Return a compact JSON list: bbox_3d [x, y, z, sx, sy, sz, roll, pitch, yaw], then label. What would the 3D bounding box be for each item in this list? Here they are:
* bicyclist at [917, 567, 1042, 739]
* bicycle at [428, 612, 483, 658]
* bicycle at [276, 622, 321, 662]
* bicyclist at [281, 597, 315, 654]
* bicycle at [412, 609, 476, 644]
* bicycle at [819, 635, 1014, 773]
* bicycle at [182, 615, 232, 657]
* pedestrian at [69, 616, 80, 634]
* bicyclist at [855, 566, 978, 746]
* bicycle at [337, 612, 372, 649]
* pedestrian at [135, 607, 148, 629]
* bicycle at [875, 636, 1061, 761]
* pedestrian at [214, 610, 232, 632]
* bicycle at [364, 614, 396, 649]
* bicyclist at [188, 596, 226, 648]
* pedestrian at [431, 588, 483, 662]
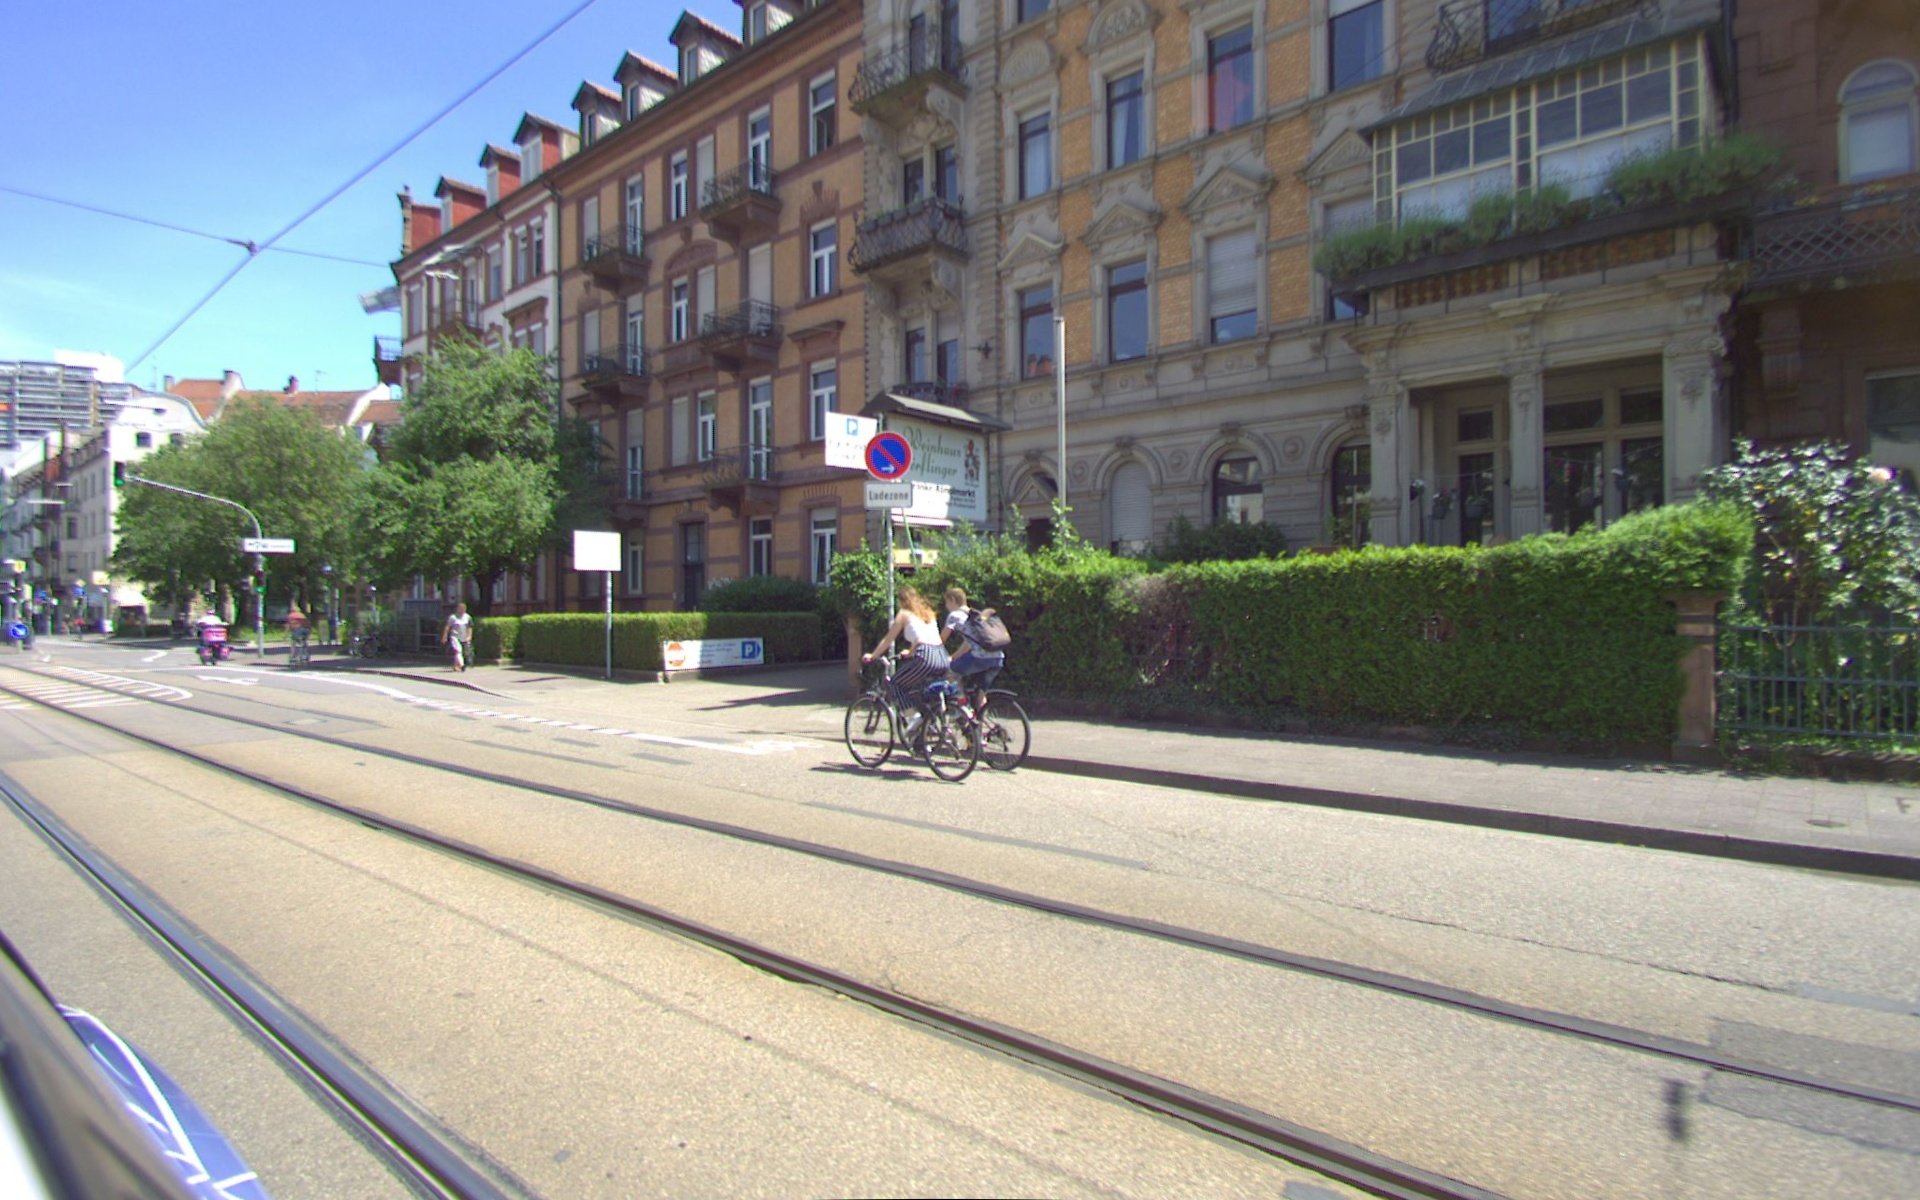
[{"bbox_3d":[0.184,0.492,9.954,1.028,1.596,0.627,1,-1,41],"label":"bicyclist"},{"bbox_3d":[-12.906,0.875,25.844,1.932,1.101,0.631,-1,1,44],"label":"bicycle"},{"bbox_3d":[-17.924,1.131,27.405,1.828,1.046,0.561,-1,-1,42],"label":"bicycle"},{"bbox_3d":[-17.950,0.691,27.428,0.891,1.527,0.556,-1,-2,42],"label":"bicyclist"},{"bbox_3d":[-15.419,0.779,30.257,0.495,1.004,1.628,-1,-1,42],"label":"bicycle"},{"bbox_3d":[-0.440,0.898,9.287,1.889,1.086,0.575,1,-1,41],"label":"bicycle"},{"bbox_3d":[-24.165,1.144,32.462,2.550,1.281,0.799,-1,-1,42],"label":"bicycle"},{"bbox_3d":[-70.471,2.008,80.552,0.519,1.452,0.531,-1,-1,31],"label":"pedestrian"},{"bbox_3d":[-0.401,0.485,9.270,0.951,1.556,0.586,1,-1,41],"label":"bicyclist"},{"bbox_3d":[-19.696,0.977,32.905,1.716,1.178,0.566,-1,-1,44],"label":"bicycle"},{"bbox_3d":[-54.972,1.218,67.991,0.519,1.452,0.531,-1,-1,31],"label":"pedestrian"},{"bbox_3d":[0.049,0.926,10.051,1.874,1.086,0.622,0,-1,41],"label":"bicycle"},{"bbox_3d":[-44.758,1.272,61.473,0.811,1.327,0.653,0,-1,-43],"label":"pedestrian"},{"bbox_3d":[-18.063,0.983,31.500,1.565,1.064,0.454,-1,-1,44],"label":"bicycle"},{"bbox_3d":[-24.155,0.701,32.470,0.980,1.642,0.799,-1,-2,41],"label":"bicyclist"},{"bbox_3d":[-12.047,0.592,24.232,0.861,1.713,1.014,1,-1,-43],"label":"pedestrian"}]
